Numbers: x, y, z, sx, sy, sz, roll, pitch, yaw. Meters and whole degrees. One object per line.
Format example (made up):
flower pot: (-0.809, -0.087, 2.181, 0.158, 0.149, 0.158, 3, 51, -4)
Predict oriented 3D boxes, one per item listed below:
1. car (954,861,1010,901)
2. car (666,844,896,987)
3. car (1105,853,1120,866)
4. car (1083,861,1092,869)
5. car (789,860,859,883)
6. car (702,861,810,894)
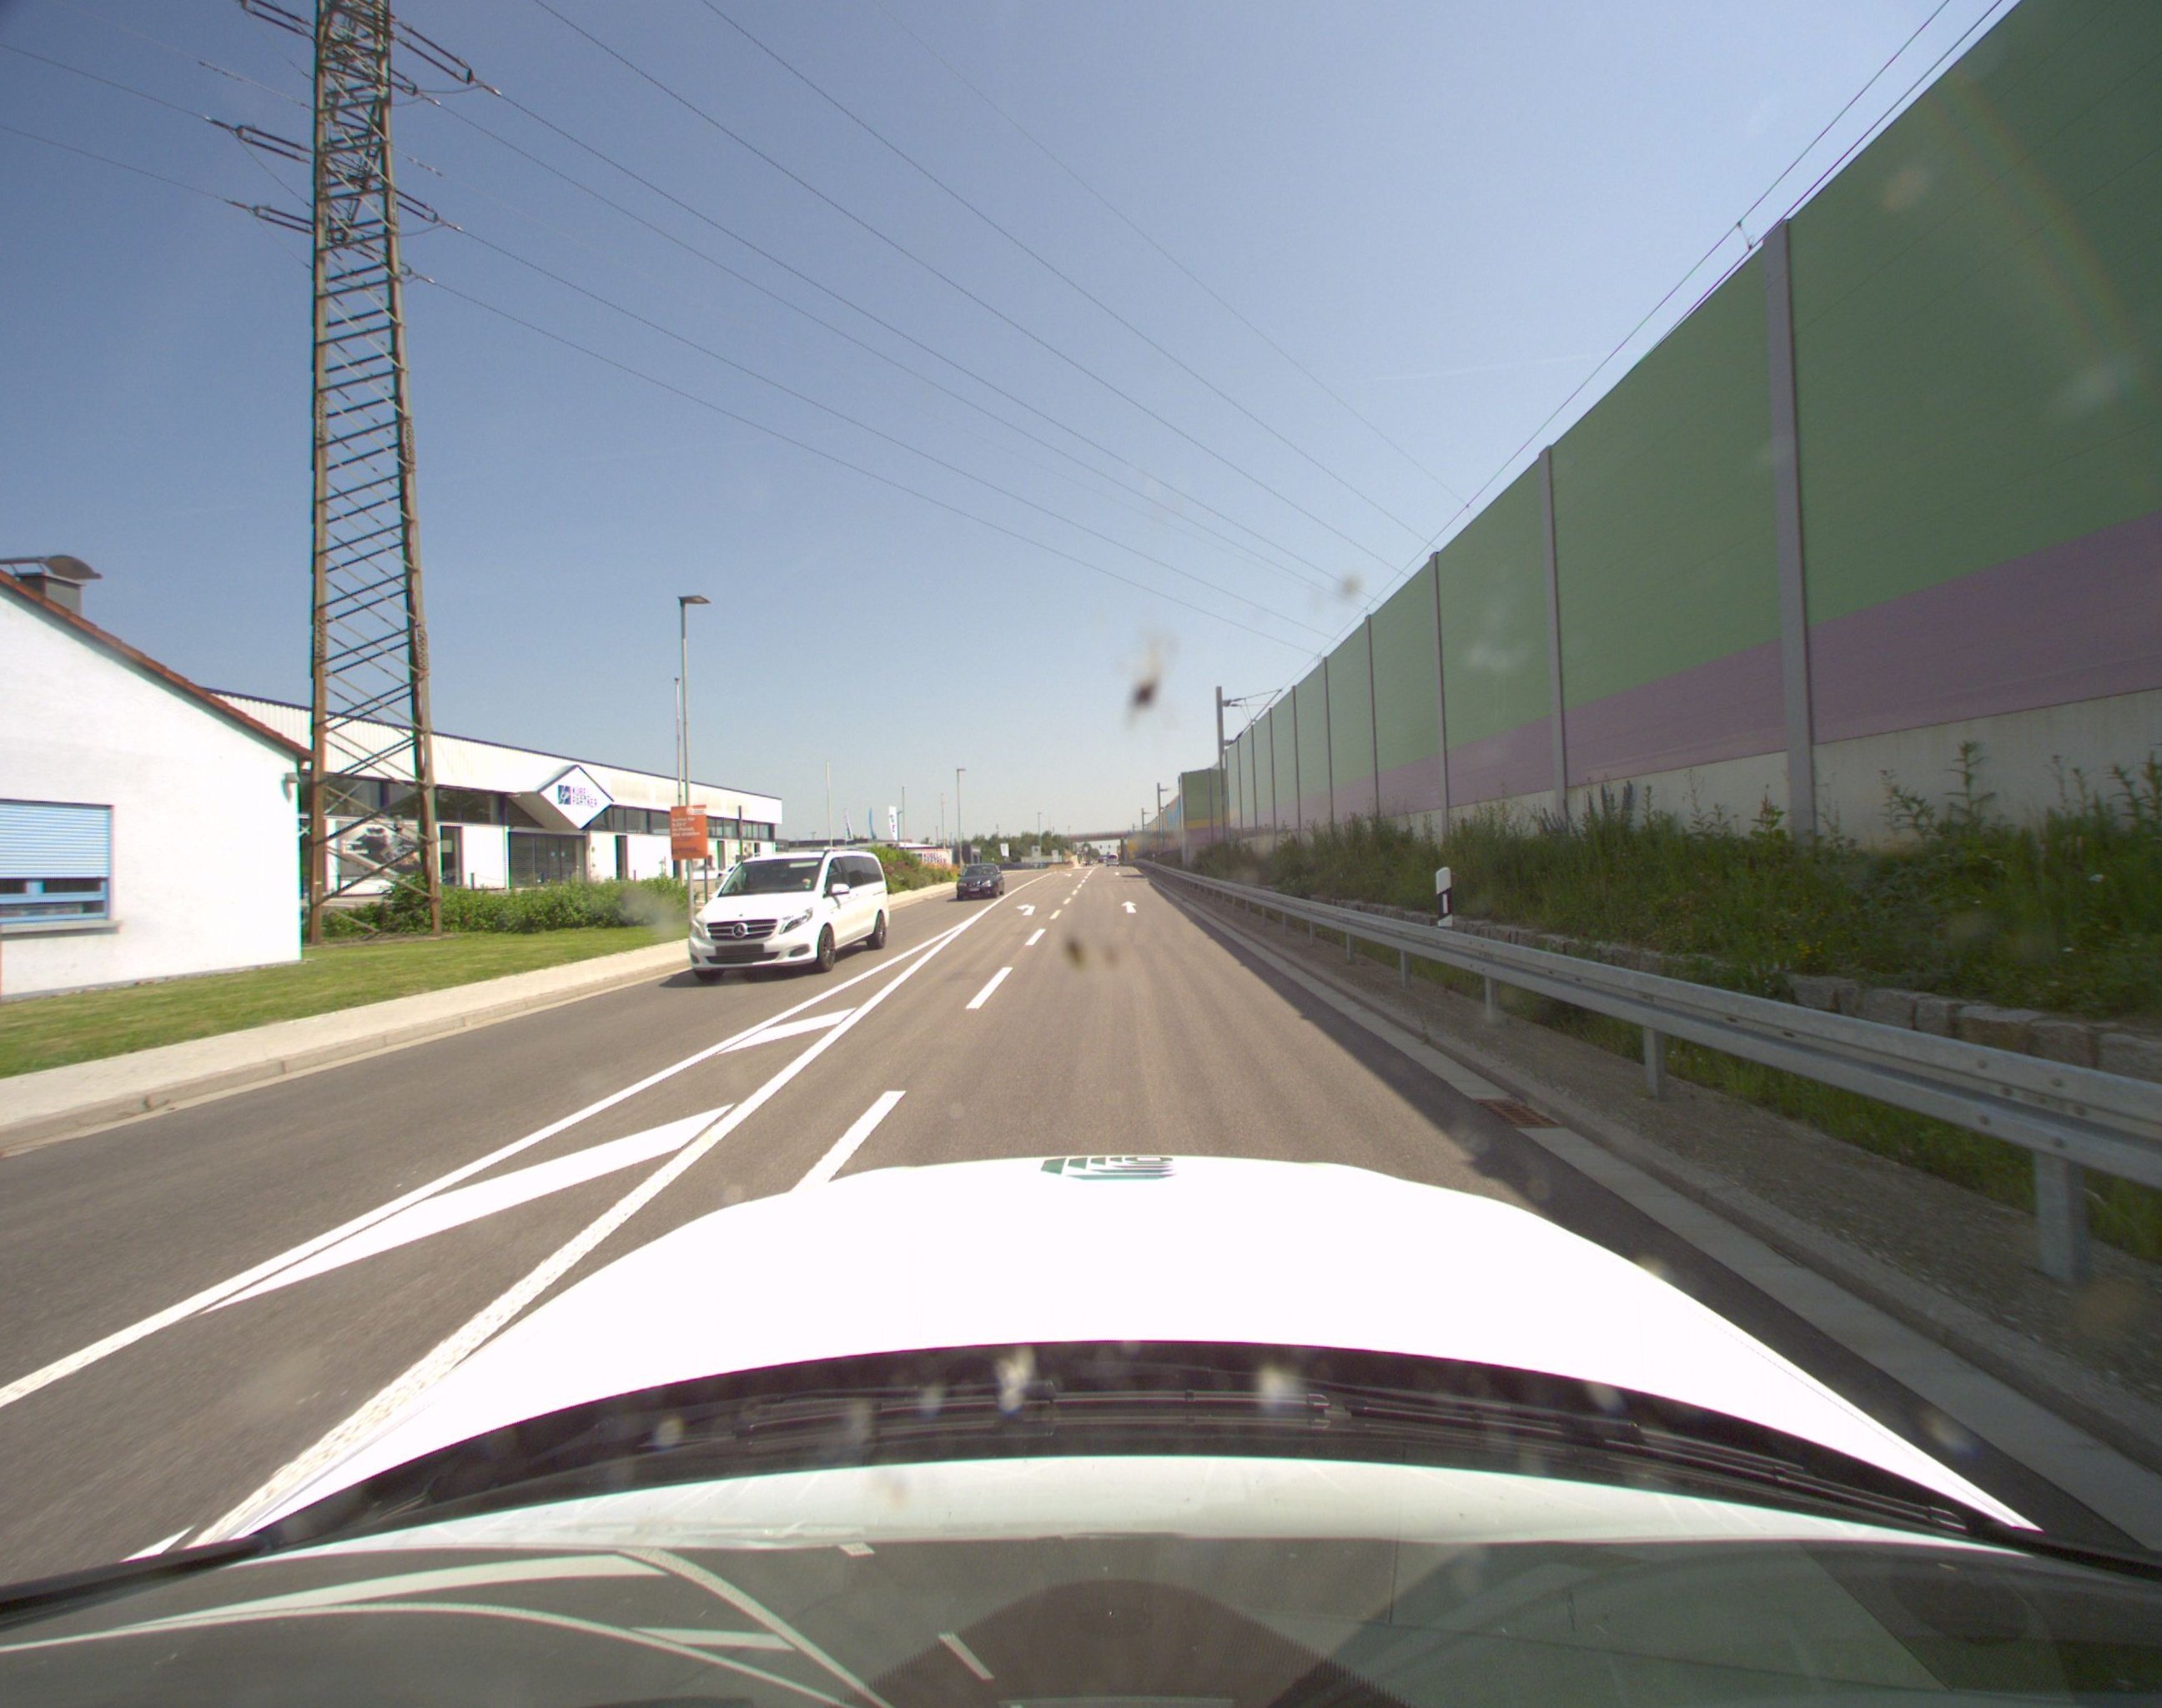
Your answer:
car: (-4.070, 1.083, 33.972, 1.664, 1.423, 4.001, -4, 0, 1)
car: (-4.753, 0.868, 13.901, 1.988, 1.874, 5.167, -3, 0, -1)
car: (4.518, 0.813, 115.498, 1.985, 1.757, 4.004, -2, 0, 3)
car: (1.634, 2.733, 201.855, 1.870, 1.673, 4.293, -3, 0, 2)
car: (-14.653, 1.011, 46.587, 3.498, 1.254, 1.504, 0, 0, 0)
car: (-14.923, 1.065, 37.560, 4.210, 1.456, 1.764, 0, 0, 0)
